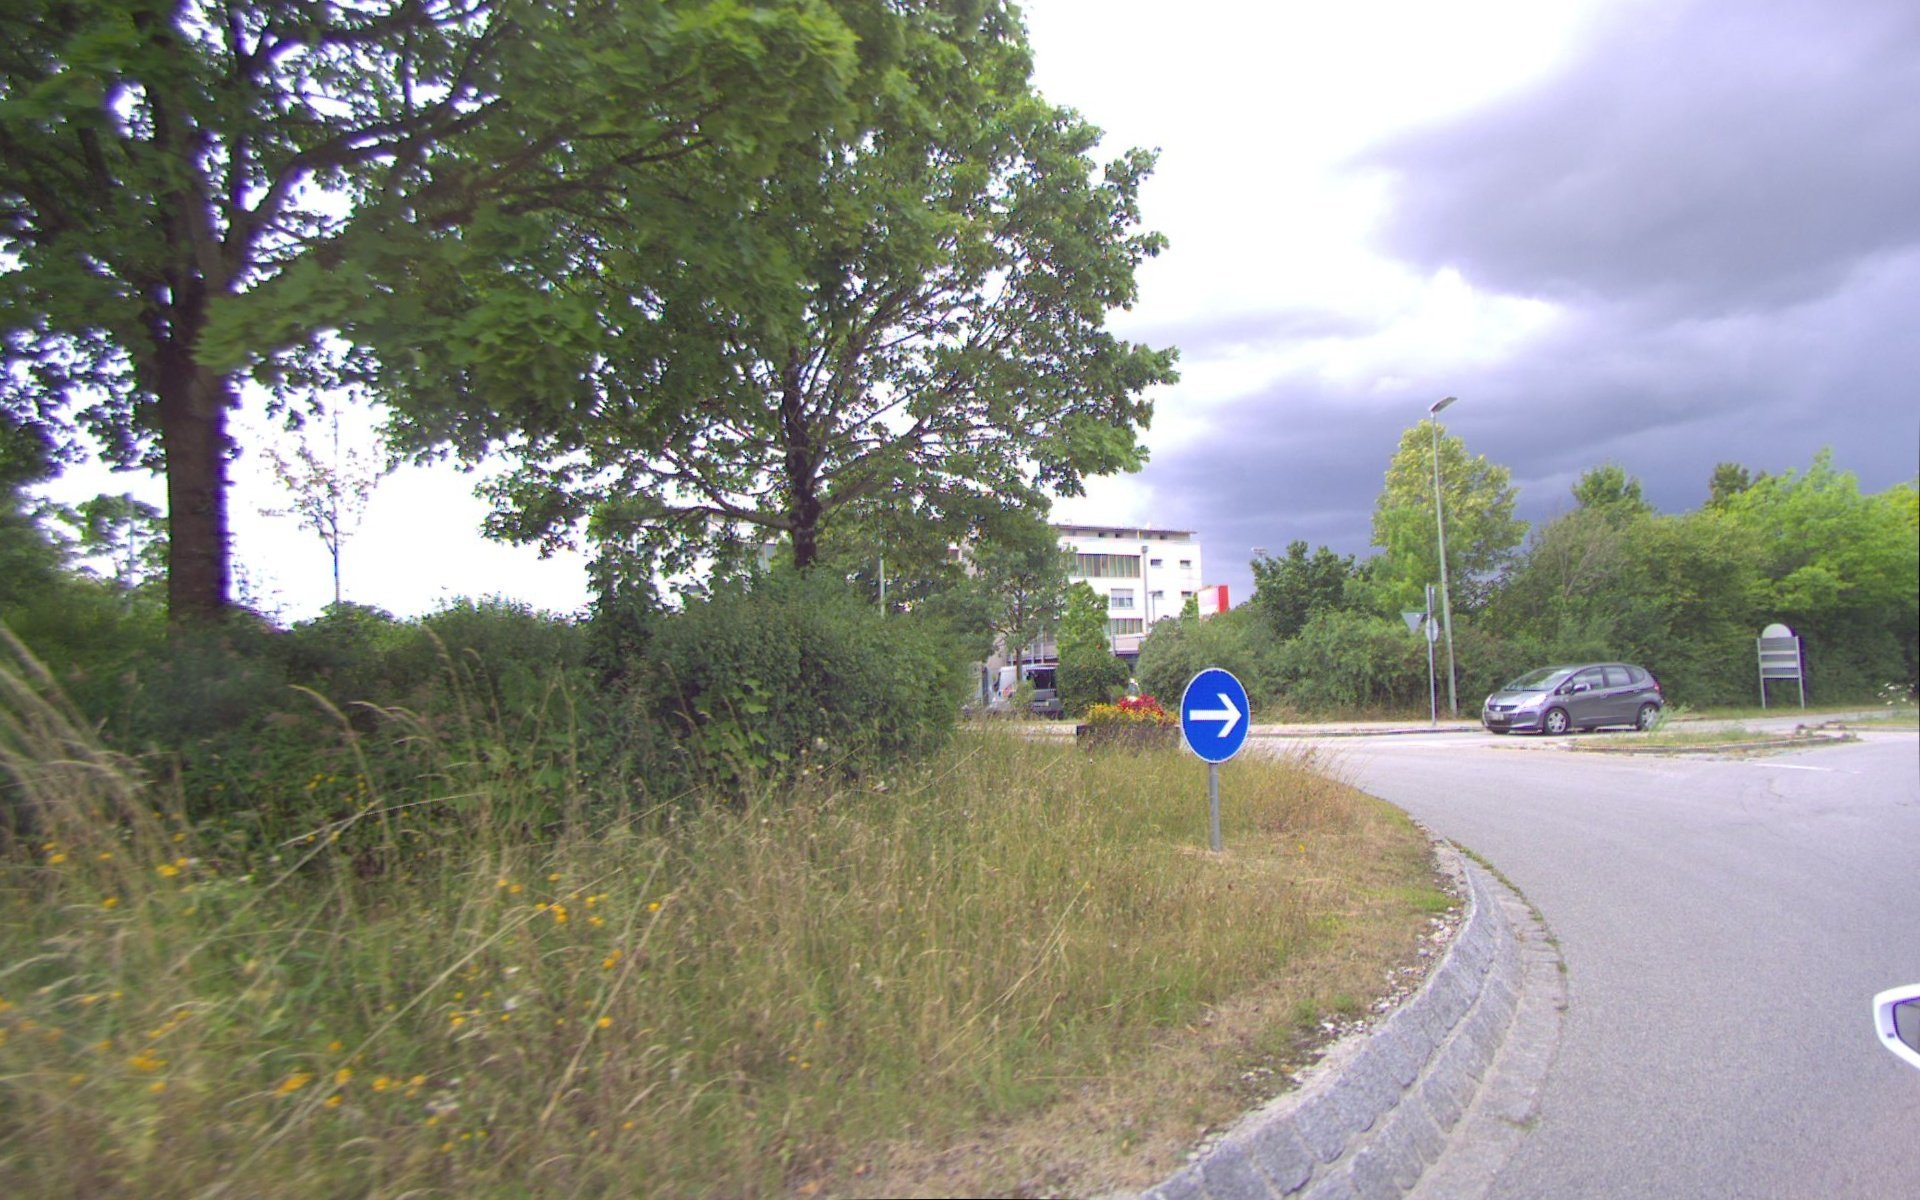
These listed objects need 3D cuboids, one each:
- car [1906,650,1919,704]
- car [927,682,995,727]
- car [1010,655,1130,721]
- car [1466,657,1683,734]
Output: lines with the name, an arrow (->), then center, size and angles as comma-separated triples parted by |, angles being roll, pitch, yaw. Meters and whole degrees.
car -> 28.451, 2.059, 27.751 | 3.937, 1.473, 1.681 | -1, -3, -19
car -> -0.024, 3.325, 32.442 | 1.709, 1.287, 3.998 | -2, -4, -6
car -> 3.745, 3.016, 34.639 | 3.920, 2.039, 2.002 | -3, -4, 3
car -> 13.373, 2.075, 21.924 | 3.932, 1.441, 1.684 | -1, -5, -14
